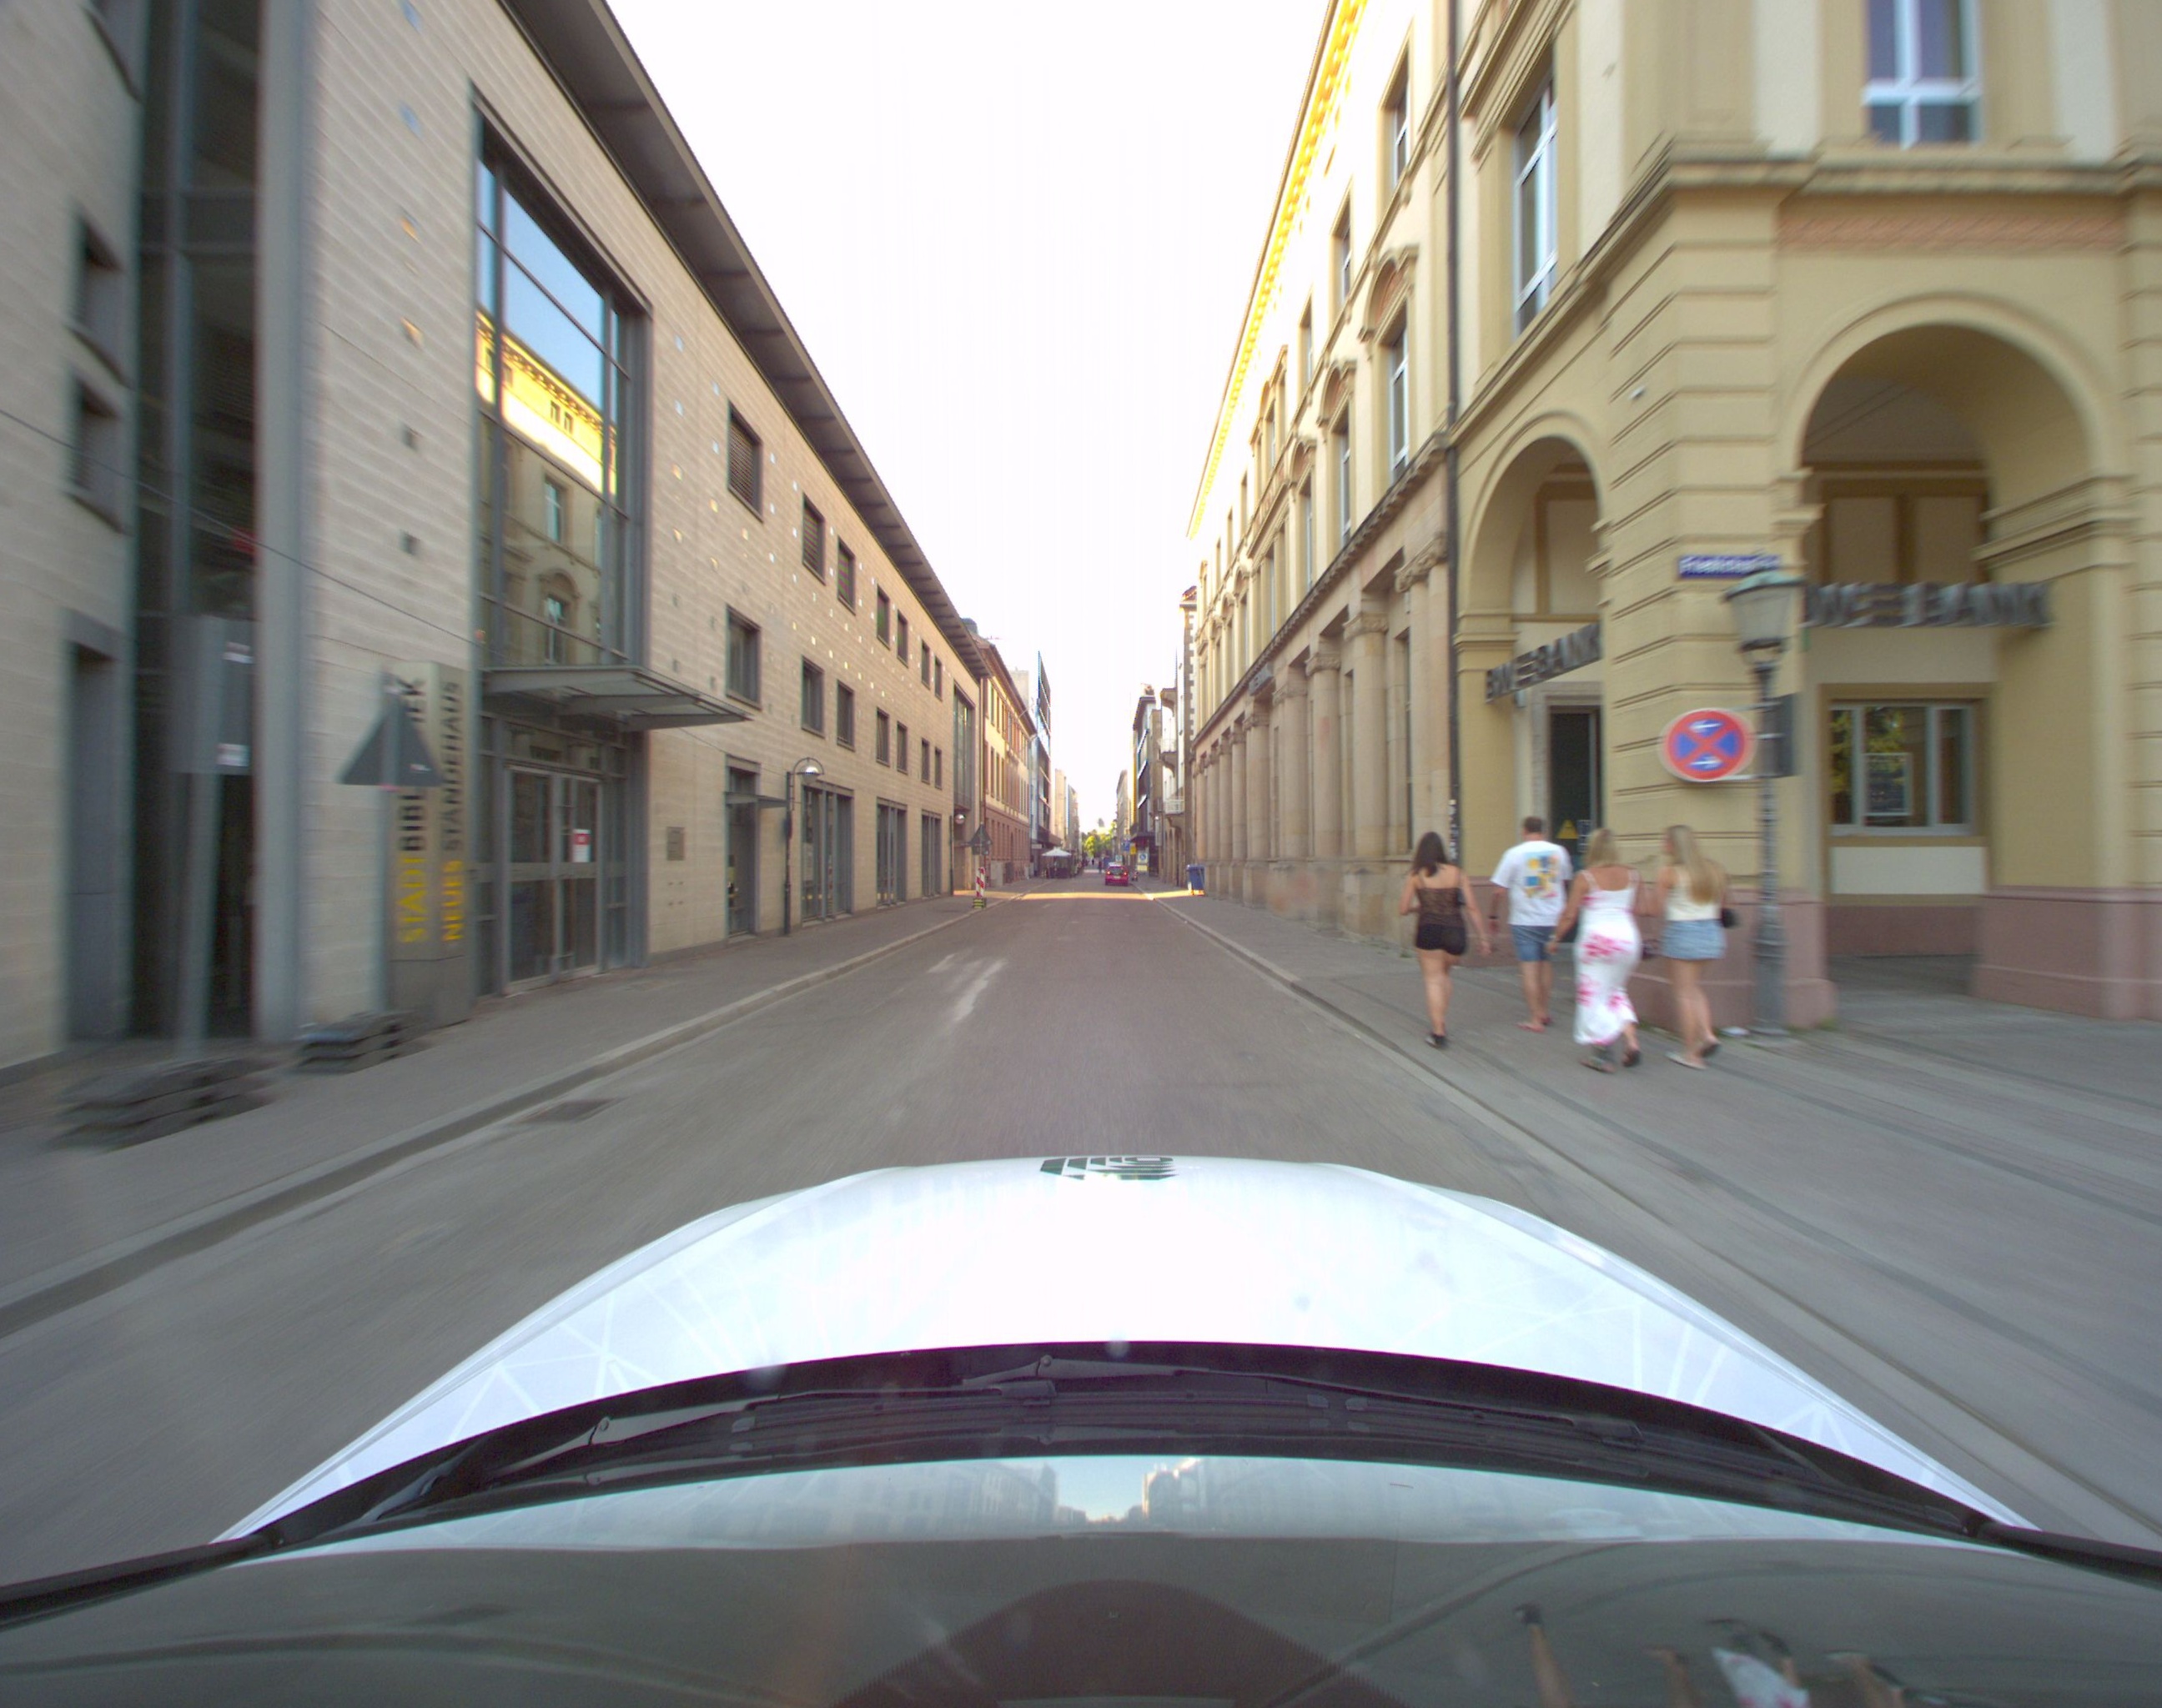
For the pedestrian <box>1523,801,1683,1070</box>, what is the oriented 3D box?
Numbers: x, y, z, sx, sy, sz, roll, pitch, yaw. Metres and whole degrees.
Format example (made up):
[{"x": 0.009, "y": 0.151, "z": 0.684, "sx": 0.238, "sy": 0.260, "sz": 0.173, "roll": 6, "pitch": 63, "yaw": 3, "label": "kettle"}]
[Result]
[{"x": 3.727, "y": 0.550, "z": 5.875, "sx": 0.634, "sy": 1.803, "sz": 0.772, "roll": -1, "pitch": -1, "yaw": 0, "label": "pedestrian"}]

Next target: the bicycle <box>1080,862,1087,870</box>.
[{"x": 0.316, "y": 1.667, "z": 115.186, "sx": 0.636, "sy": 1.157, "sz": 2.495, "roll": -1, "pitch": 0, "yaw": -7, "label": "bicycle"}]

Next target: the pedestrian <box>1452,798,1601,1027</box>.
[{"x": 3.871, "y": 0.484, "z": 7.143, "sx": 0.809, "sy": 1.875, "sz": 0.875, "roll": -1, "pitch": -1, "yaw": 0, "label": "pedestrian"}]

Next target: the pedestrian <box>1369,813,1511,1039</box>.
[{"x": 2.945, "y": 0.561, "z": 6.767, "sx": 0.773, "sy": 1.746, "sz": 0.875, "roll": -1, "pitch": -1, "yaw": 0, "label": "pedestrian"}]

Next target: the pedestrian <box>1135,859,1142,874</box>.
[{"x": 5.607, "y": 1.254, "z": 79.985, "sx": 0.654, "sy": 1.488, "sz": 0.493, "roll": -1, "pitch": -1, "yaw": 3, "label": "pedestrian"}]

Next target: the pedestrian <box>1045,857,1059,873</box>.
[{"x": -2.647, "y": 0.974, "z": 73.923, "sx": 1.287, "sy": 1.488, "sz": 0.661, "roll": 0, "pitch": -1, "yaw": -1, "label": "pedestrian"}]

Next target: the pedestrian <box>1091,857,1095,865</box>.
[{"x": 2.580, "y": 1.559, "z": 175.936, "sx": 0.801, "sy": 1.672, "sz": 0.889, "roll": 0, "pitch": -1, "yaw": 3, "label": "pedestrian"}]

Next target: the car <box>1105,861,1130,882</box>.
[{"x": 2.578, "y": 1.223, "z": 57.963, "sx": 1.643, "sy": 1.427, "sz": 3.537, "roll": 3, "pitch": 0, "yaw": 2, "label": "car"}]

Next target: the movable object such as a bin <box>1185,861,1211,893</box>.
[{"x": 5.300, "y": 1.026, "z": 37.040, "sx": 0.987, "sy": 1.392, "sz": 1.240, "roll": -1, "pitch": 0, "yaw": 0, "label": "movable object such as a bin"}]

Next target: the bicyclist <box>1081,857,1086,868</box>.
[{"x": 0.312, "y": 1.216, "z": 115.128, "sx": 0.636, "sy": 1.641, "sz": 0.770, "roll": -1, "pitch": 0, "yaw": -8, "label": "bicyclist"}]

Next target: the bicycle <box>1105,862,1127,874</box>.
[{"x": 3.442, "y": 1.386, "z": 79.806, "sx": 2.047, "sy": 1.134, "sz": 0.648, "roll": 0, "pitch": -1, "yaw": -3, "label": "bicycle"}]

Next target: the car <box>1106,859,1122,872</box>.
[{"x": 4.310, "y": 1.474, "z": 107.221, "sx": 1.987, "sy": 1.611, "sz": 3.999, "roll": 0, "pitch": 0, "yaw": 0, "label": "car"}]

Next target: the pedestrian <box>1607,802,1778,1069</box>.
[{"x": 4.383, "y": 0.551, "z": 5.896, "sx": 0.634, "sy": 1.803, "sz": 0.772, "roll": -1, "pitch": -1, "yaw": 0, "label": "pedestrian"}]

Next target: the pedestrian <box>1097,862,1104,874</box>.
[{"x": 2.668, "y": 1.896, "z": 110.589, "sx": 0.862, "sy": 1.713, "sz": 0.852, "roll": 0, "pitch": -1, "yaw": 1, "label": "pedestrian"}]

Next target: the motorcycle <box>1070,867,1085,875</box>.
[{"x": -0.432, "y": 2.032, "z": 97.882, "sx": 1.797, "sy": 0.875, "sz": 0.560, "roll": 0, "pitch": -1, "yaw": -3, "label": "motorcycle"}]

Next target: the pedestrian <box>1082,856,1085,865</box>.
[{"x": 0.454, "y": 1.246, "z": 148.923, "sx": 0.676, "sy": 1.623, "sz": 0.626, "roll": 0, "pitch": -1, "yaw": 3, "label": "pedestrian"}]
